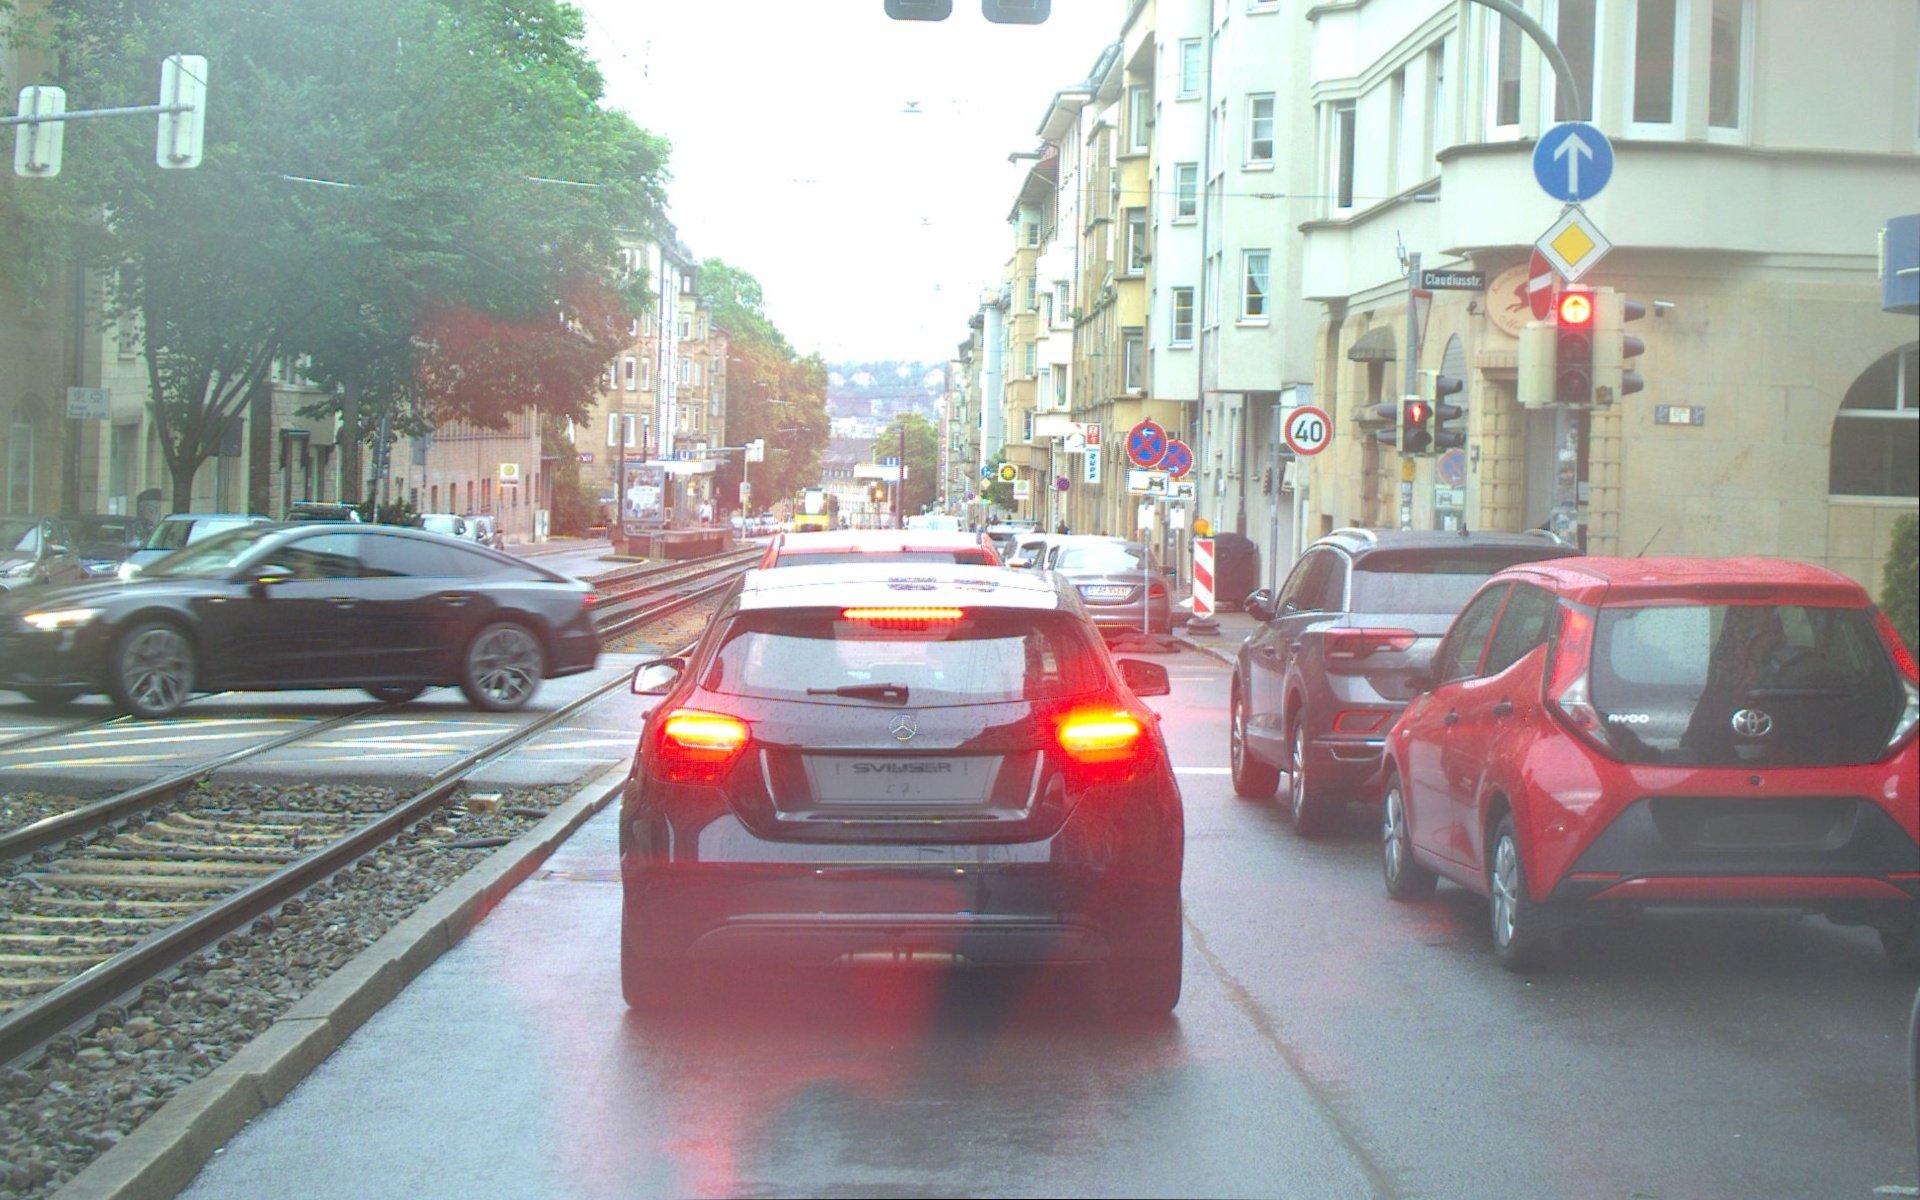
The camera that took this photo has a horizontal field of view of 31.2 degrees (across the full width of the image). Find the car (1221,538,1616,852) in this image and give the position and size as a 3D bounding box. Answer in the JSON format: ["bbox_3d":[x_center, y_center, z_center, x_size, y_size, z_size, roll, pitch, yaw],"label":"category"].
[{"bbox_3d":[2.361,0.426,18.530,1.544,1.481,3.830,1,1,-1],"label":"car"}]

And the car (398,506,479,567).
[{"bbox_3d":[-13.924,-1.692,91.951,1.589,1.575,3.918,1,1,-1],"label":"car"}]

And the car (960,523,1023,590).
[{"bbox_3d":[0.685,-0.984,76.361,1.294,1.437,2.929,1,1,-1],"label":"car"}]

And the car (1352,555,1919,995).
[{"bbox_3d":[2.617,0.575,13.292,1.642,1.443,3.299,1,1,-3],"label":"car"}]

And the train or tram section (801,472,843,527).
[{"bbox_3d":[-10.322,-7.499,258.372,2.783,3.847,10.430,1,1,-1],"label":"train or tram section"}]

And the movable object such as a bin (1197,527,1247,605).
[{"bbox_3d":[4.744,-0.613,62.335,0.878,1.384,0.982,1,0,3],"label":"movable object such as a bin"}]

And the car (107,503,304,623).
[{"bbox_3d":[-10.446,-0.514,47.861,1.898,1.582,3.973,1,1,-1],"label":"car"}]

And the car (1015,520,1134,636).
[{"bbox_3d":[1.628,-0.343,49.882,1.544,1.585,3.548,1,1,-1],"label":"car"}]

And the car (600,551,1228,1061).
[{"bbox_3d":[-0.160,0.581,12.227,1.829,1.453,4.104,1,1,-1],"label":"car"}]

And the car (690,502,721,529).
[{"bbox_3d":[-12.389,-4.111,167.287,1.377,1.245,3.298,1,1,-2],"label":"car"}]

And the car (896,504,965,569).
[{"bbox_3d":[-0.874,-1.862,101.674,1.993,1.870,4.000,1,1,-1],"label":"car"}]

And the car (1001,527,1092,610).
[{"bbox_3d":[1.588,-0.613,64.292,1.544,1.481,3.548,1,1,-1],"label":"car"}]

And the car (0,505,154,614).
[{"bbox_3d":[-13.716,-0.627,53.510,1.716,1.605,3.919,1,1,-5],"label":"car"}]

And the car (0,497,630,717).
[{"bbox_3d":[-5.099,0.034,26.074,4.949,1.518,1.808,0,1,-38],"label":"car"}]

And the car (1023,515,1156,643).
[{"bbox_3d":[1.678,-0.301,45.407,1.544,1.585,3.548,1,1,-1],"label":"car"}]

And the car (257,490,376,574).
[{"bbox_3d":[-13.909,-1.456,74.488,1.875,1.731,3.918,1,1,-1],"label":"car"}]

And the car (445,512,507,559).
[{"bbox_3d":[-14.255,-1.890,101.360,1.448,1.326,3.272,1,1,-2],"label":"car"}]

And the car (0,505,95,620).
[{"bbox_3d":[-13.470,-0.533,48.479,1.752,1.547,4.036,1,1,-4],"label":"car"}]

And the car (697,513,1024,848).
[{"bbox_3d":[-0.505,0.372,18.614,1.565,1.604,3.814,1,1,-1],"label":"car"}]

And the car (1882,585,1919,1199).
[{"bbox_3d":[2.804,0.727,5.829,1.614,1.462,3.312,0,1,0],"label":"car"}]
